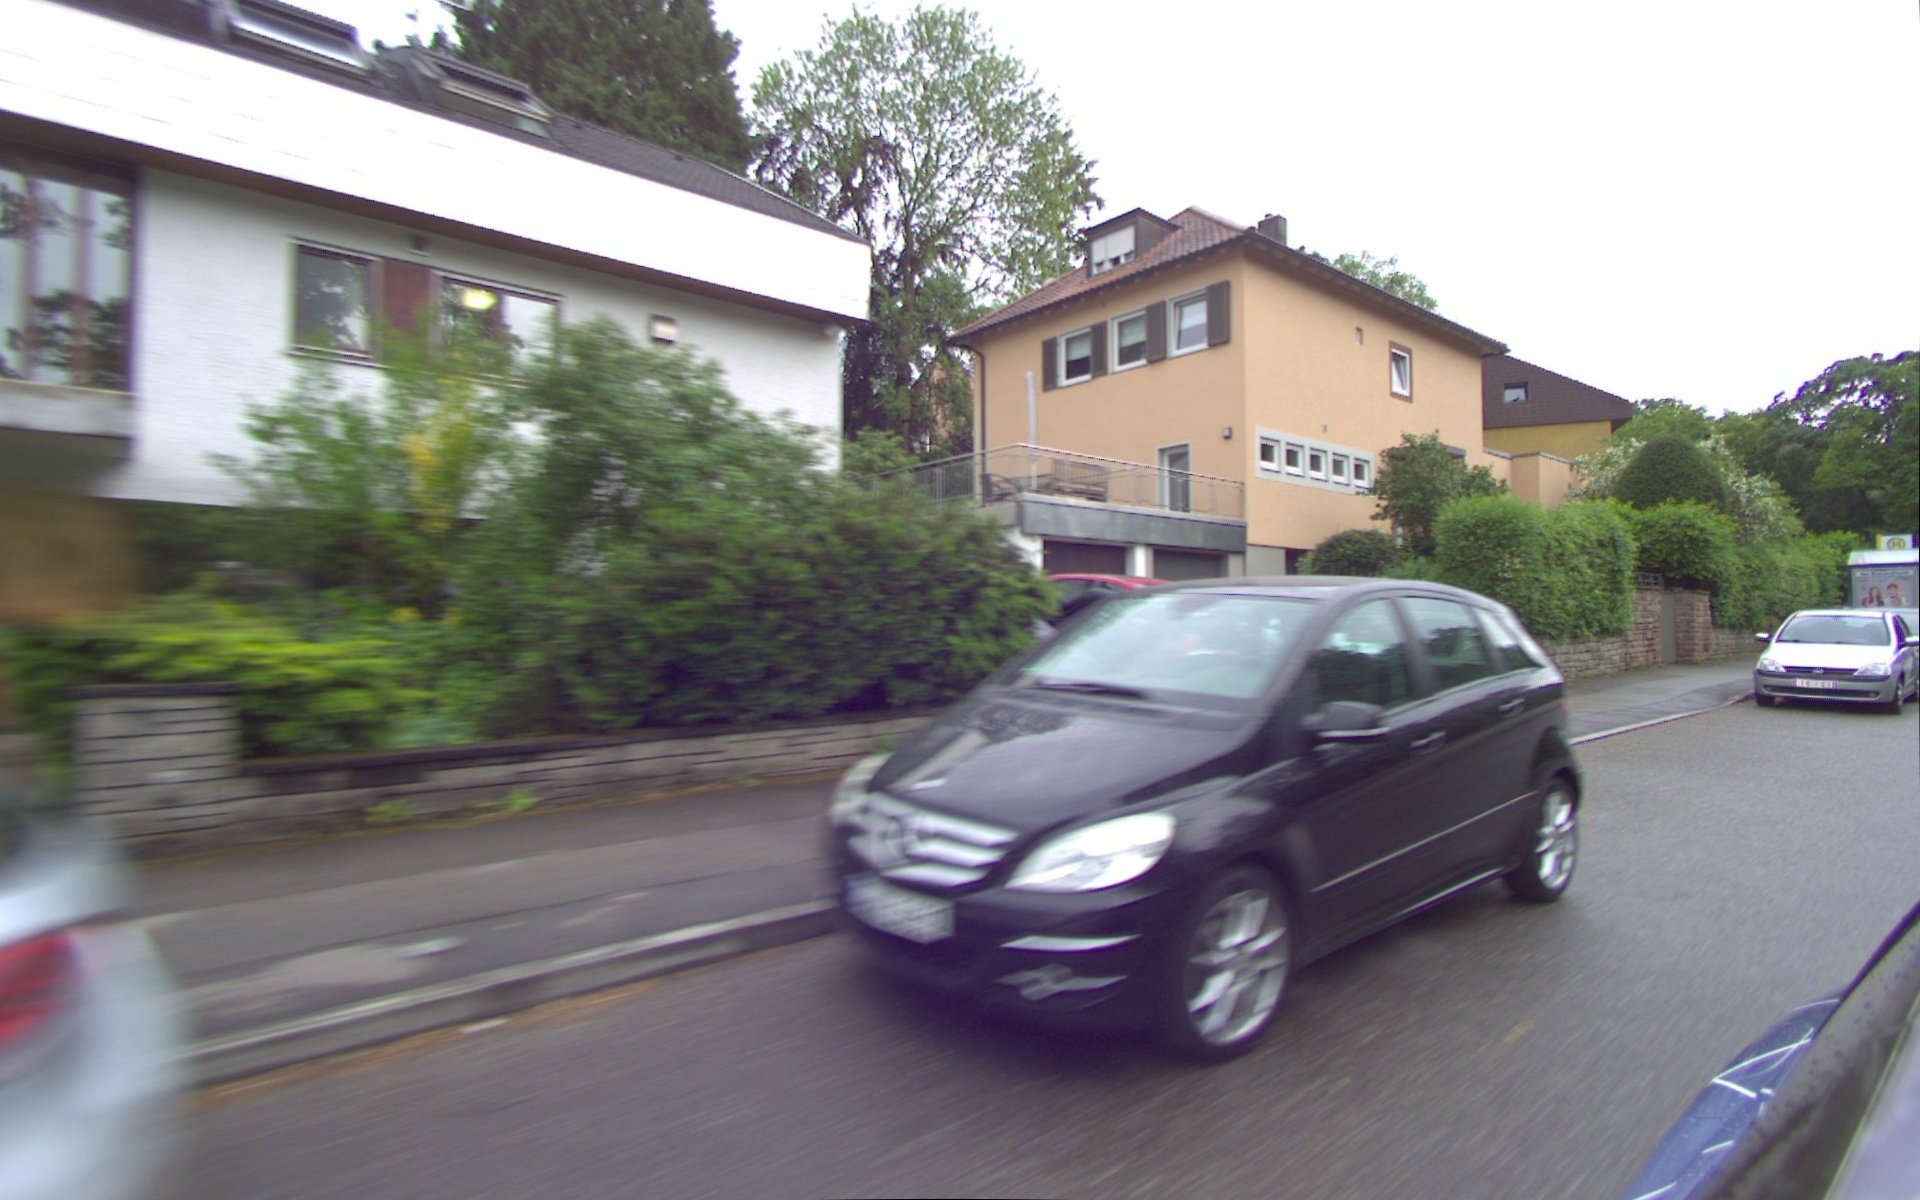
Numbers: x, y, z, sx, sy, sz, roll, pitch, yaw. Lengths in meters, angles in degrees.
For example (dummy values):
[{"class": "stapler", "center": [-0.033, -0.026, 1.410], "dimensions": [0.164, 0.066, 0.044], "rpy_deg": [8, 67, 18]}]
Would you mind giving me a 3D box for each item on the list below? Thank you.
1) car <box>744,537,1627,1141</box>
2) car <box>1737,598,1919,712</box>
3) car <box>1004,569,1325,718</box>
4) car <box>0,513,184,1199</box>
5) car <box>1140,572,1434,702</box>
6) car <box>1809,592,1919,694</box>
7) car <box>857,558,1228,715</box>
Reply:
[{"class": "car", "center": [1.398, 0.627, 4.765], "dimensions": [4.441, 1.587, 1.733], "rpy_deg": [0, 0, -40]}, {"class": "car", "center": [13.298, 0.717, 15.224], "dimensions": [4.032, 1.416, 1.815], "rpy_deg": [-1, 0, -42]}, {"class": "car", "center": [2.471, 0.421, 12.889], "dimensions": [1.849, 1.585, 3.666], "rpy_deg": [0, 2, -40]}, {"class": "car", "center": [-3.361, 0.680, 0.691], "dimensions": [4.417, 1.505, 1.796], "rpy_deg": [-1, 0, -41]}, {"class": "car", "center": [4.683, 0.432, 14.836], "dimensions": [1.797, 1.555, 3.663], "rpy_deg": [0, 3, -42]}, {"class": "car", "center": [16.782, 0.673, 17.890], "dimensions": [4.546, 1.567, 1.834], "rpy_deg": [-1, 0, -39]}, {"class": "car", "center": [0.772, 0.336, 11.754], "dimensions": [1.849, 1.479, 4.253], "rpy_deg": [-1, 0, -40]}]
